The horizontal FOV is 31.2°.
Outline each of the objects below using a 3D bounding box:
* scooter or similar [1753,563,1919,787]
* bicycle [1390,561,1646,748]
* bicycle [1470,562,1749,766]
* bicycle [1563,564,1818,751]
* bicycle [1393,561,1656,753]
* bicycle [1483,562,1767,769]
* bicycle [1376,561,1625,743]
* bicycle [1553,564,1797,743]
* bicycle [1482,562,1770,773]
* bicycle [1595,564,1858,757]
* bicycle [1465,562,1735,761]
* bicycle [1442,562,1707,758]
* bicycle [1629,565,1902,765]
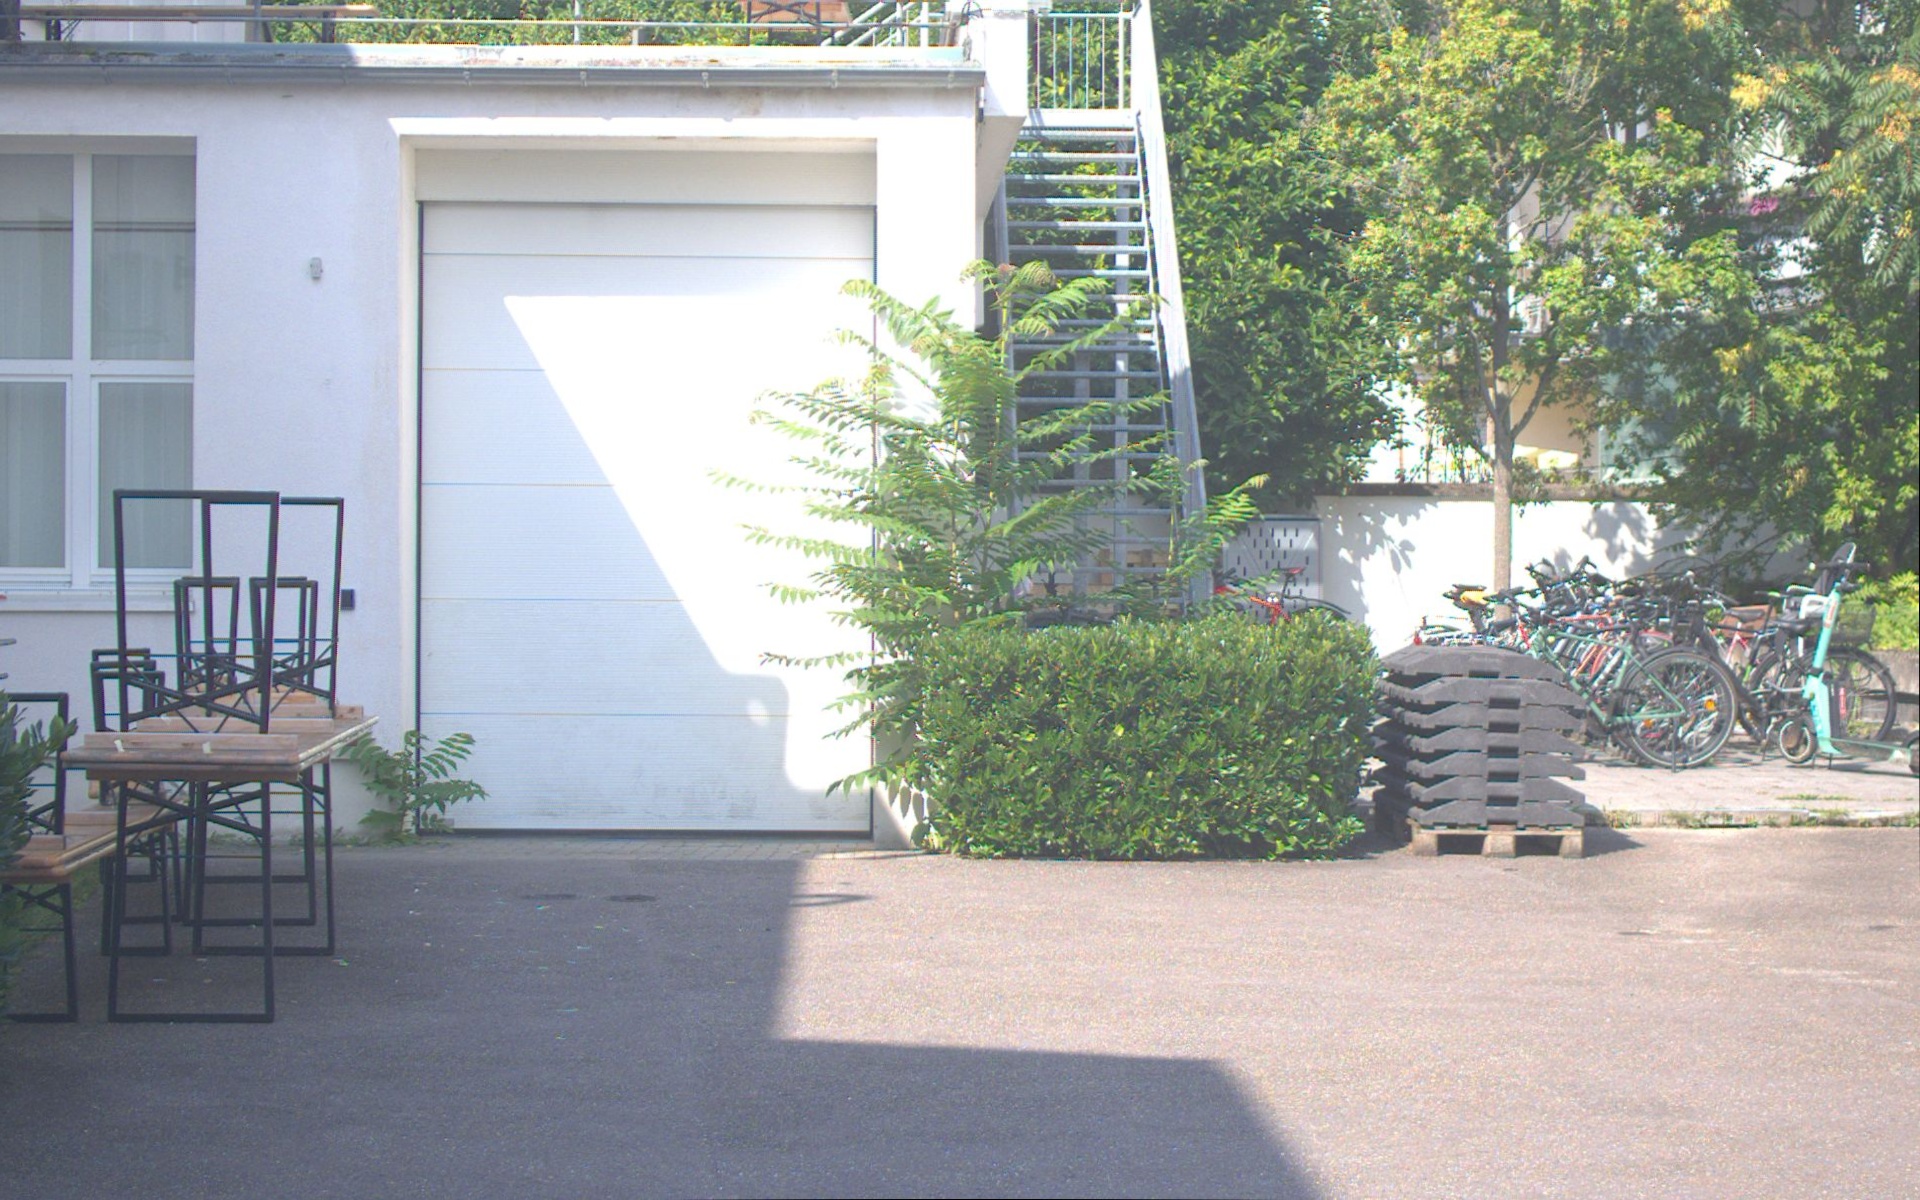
[{"bbox_3d":[5.244,0.418,19.967,0.378,1.256,1.349,-1,1,-33],"label":"scooter or similar"},{"bbox_3d":[3.718,0.356,22.924,1.623,1.210,0.424,-1,1,-7],"label":"bicycle"},{"bbox_3d":[3.925,0.384,20.801,1.623,1.210,0.327,0,1,0],"label":"bicycle"},{"bbox_3d":[4.793,0.374,22.607,1.624,1.210,0.424,0,1,11],"label":"bicycle"},{"bbox_3d":[3.652,0.363,22.288,1.623,1.210,0.424,-1,1,-2],"label":"bicycle"},{"bbox_3d":[3.962,0.388,20.508,1.623,1.210,0.327,0,1,0],"label":"bicycle"},{"bbox_3d":[3.696,0.349,23.526,1.623,1.210,0.424,-1,1,-6],"label":"bicycle"},{"bbox_3d":[4.907,0.363,23.635,1.624,1.210,0.424,0,1,11],"label":"bicycle"},{"bbox_3d":[3.905,0.392,20.185,1.623,1.210,0.327,0,1,0],"label":"bicycle"},{"bbox_3d":[4.904,0.383,22.033,1.624,1.210,0.424,0,1,12],"label":"bicycle"},{"bbox_3d":[3.948,0.379,21.252,1.623,1.210,0.327,0,1,9],"label":"bicycle"},{"bbox_3d":[3.859,0.374,21.615,1.624,1.210,0.327,0,1,12],"label":"bicycle"},{"bbox_3d":[4.955,0.393,21.173,1.624,1.210,0.327,0,1,14],"label":"bicycle"}]
